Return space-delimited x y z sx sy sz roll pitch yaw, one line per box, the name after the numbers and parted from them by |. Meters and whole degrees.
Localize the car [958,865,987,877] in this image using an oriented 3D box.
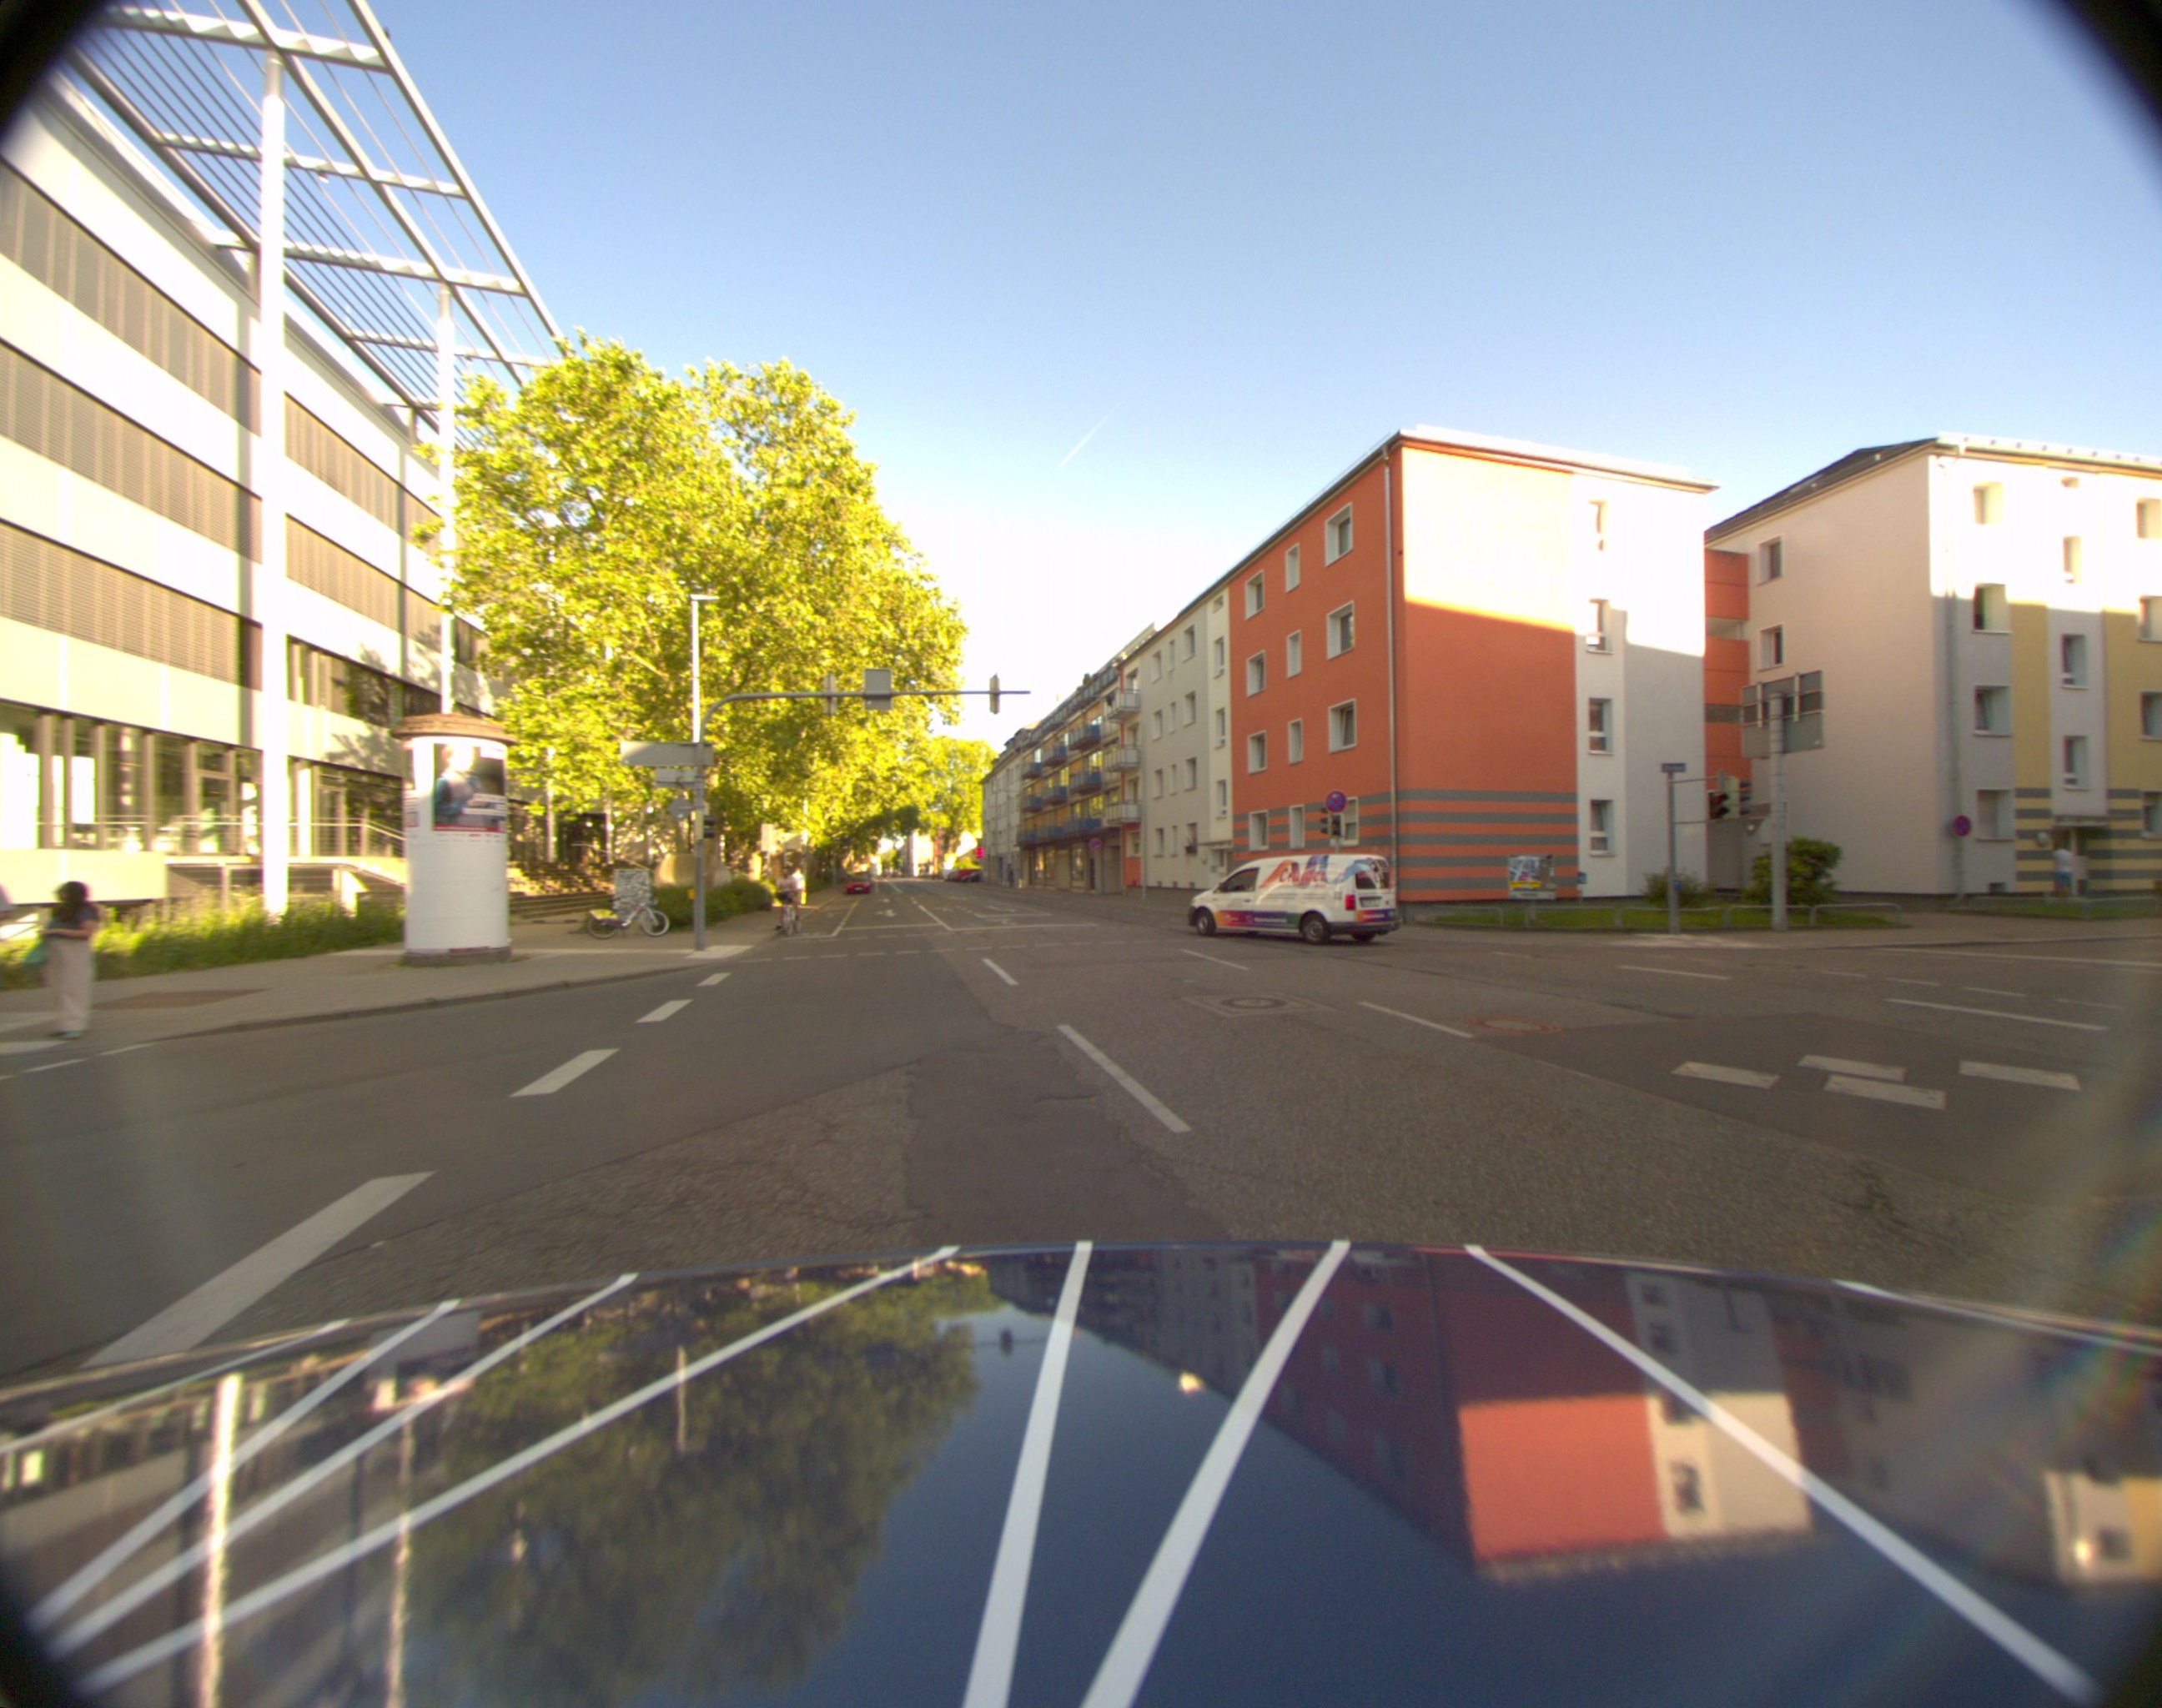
-15.629 2.391 109.713 4.002 1.689 1.832 0 -1 -13 | car

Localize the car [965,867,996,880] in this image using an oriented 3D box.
-13.866 2.676 104.575 4.002 1.689 1.832 0 -1 -13 | car

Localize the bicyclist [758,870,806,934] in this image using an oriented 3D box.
-8.011 1.274 20.421 0.950 1.630 1.007 -1 0 -7 | bicyclist

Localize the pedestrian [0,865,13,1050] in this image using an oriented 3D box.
-10.917 1.027 7.279 0.605 1.828 0.568 -1 0 -30 | pedestrian

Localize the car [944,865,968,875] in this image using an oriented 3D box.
-22.063 2.779 134.042 4.002 1.689 1.832 0 -1 -13 | car

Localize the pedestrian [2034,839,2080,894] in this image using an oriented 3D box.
26.372 0.339 20.534 0.599 1.452 0.560 0 0 -14 | pedestrian

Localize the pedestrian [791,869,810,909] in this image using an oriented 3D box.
-12.930 1.593 35.001 0.672 1.786 0.665 -4 2 -21 | pedestrian

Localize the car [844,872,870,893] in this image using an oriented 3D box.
-17.918 2.265 60.917 1.788 1.520 4.651 -4 0 -16 | car

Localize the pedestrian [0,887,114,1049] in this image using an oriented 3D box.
-10.258 1.100 7.515 0.674 1.515 0.560 -1 0 -27 | pedestrian

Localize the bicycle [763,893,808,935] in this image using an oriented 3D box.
-7.975 1.597 20.574 0.704 1.060 1.927 -1 -2 -7 | bicycle

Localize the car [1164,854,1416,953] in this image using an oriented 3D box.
4.320 1.032 16.562 2.004 1.805 5.112 2 -3 -38 | car

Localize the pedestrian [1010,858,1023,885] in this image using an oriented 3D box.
-5.824 1.590 68.621 0.915 2.382 1.086 0 -1 -16 | pedestrian

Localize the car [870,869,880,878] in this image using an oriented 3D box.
-39.524 3.732 145.895 1.789 1.520 4.652 0 -1 -15 | car

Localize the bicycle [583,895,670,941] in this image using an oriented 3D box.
-10.675 1.485 17.866 1.639 0.993 0.620 2 1 -40 | bicycle
